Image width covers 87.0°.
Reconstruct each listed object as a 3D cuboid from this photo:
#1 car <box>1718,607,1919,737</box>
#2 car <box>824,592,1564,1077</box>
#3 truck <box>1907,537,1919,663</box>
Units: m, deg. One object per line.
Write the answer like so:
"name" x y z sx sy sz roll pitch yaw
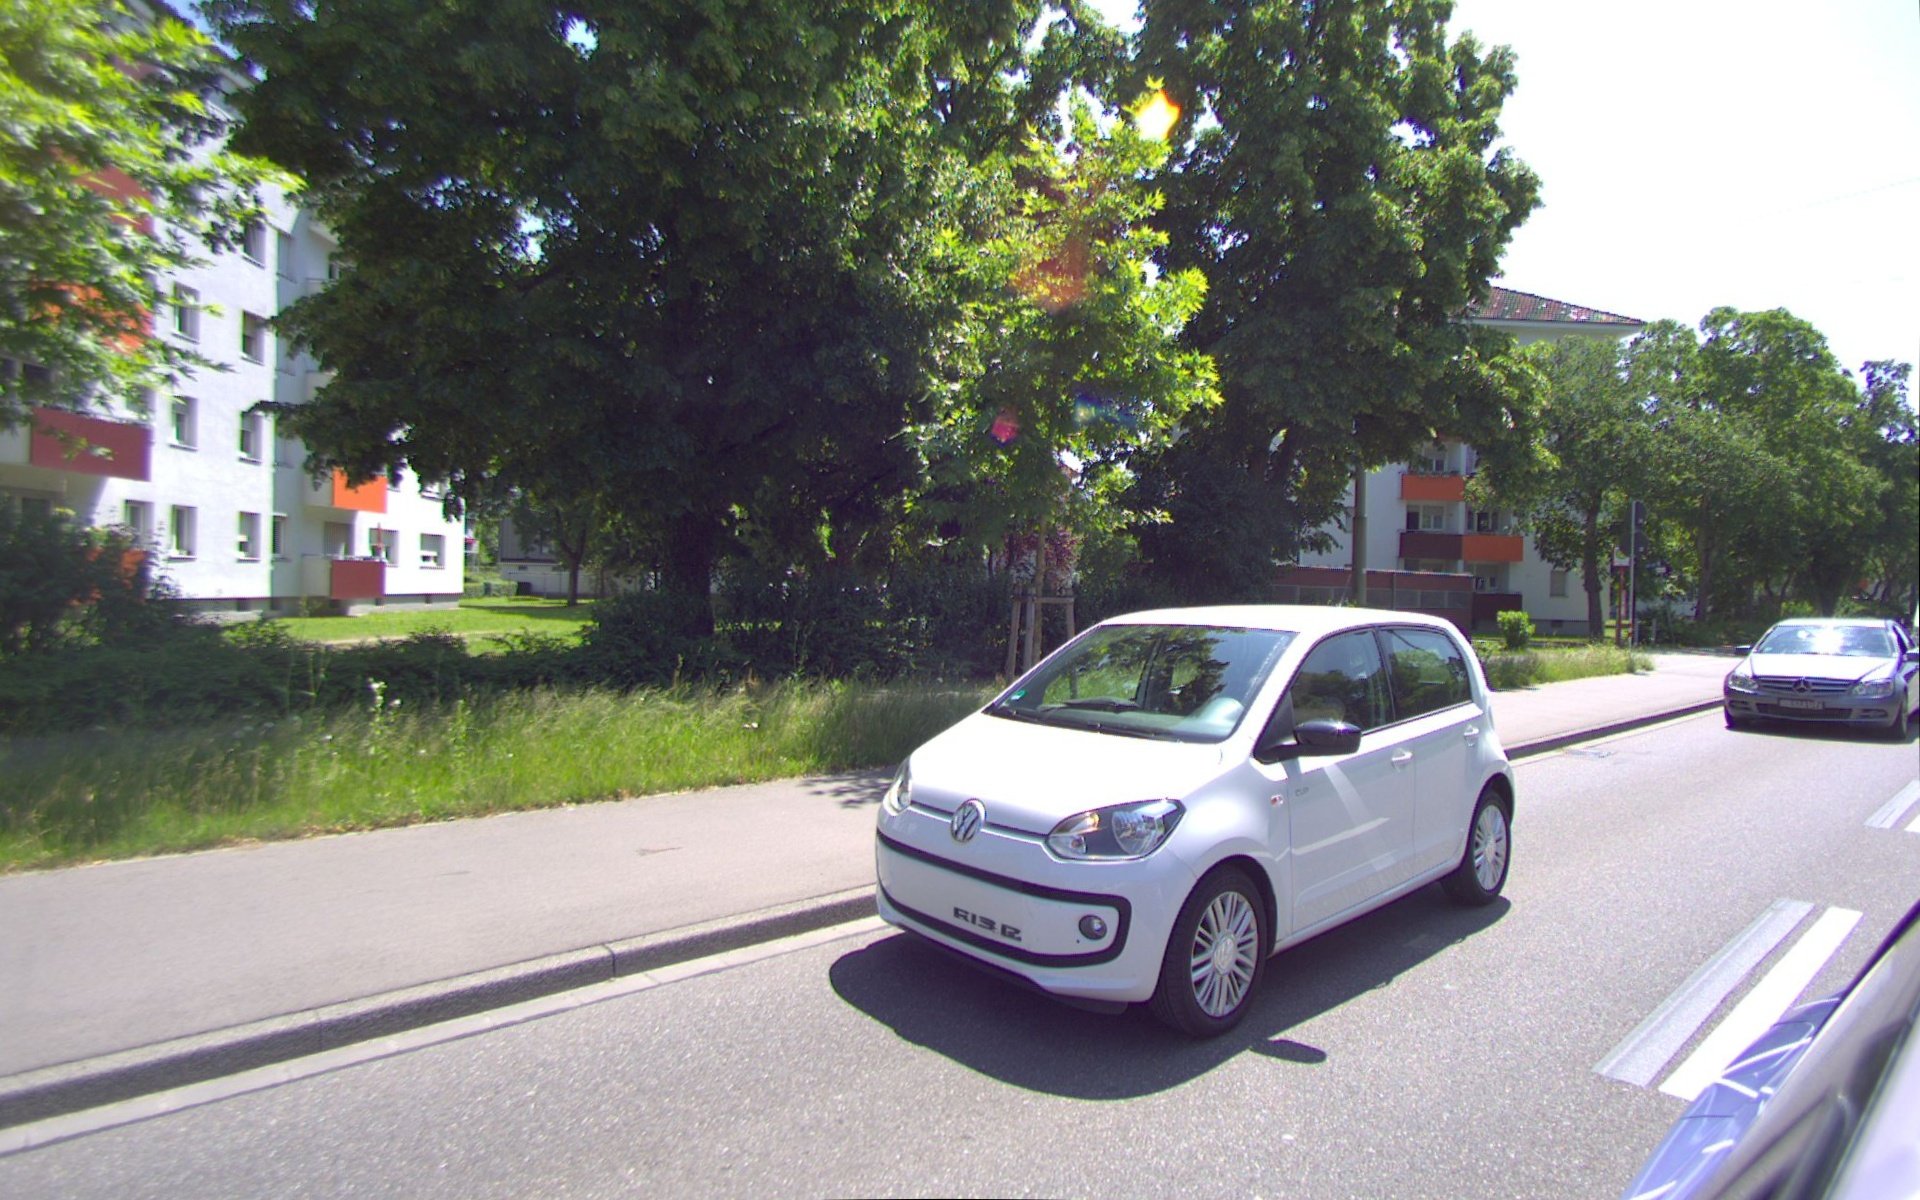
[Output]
"car" 11.821 0.843 13.598 3.902 1.478 1.901 1 -1 -42
"car" 1.380 0.716 4.962 3.787 1.468 1.661 0 0 -41
"truck" 29.044 0.028 28.477 8.160 3.319 2.294 0 0 -38
